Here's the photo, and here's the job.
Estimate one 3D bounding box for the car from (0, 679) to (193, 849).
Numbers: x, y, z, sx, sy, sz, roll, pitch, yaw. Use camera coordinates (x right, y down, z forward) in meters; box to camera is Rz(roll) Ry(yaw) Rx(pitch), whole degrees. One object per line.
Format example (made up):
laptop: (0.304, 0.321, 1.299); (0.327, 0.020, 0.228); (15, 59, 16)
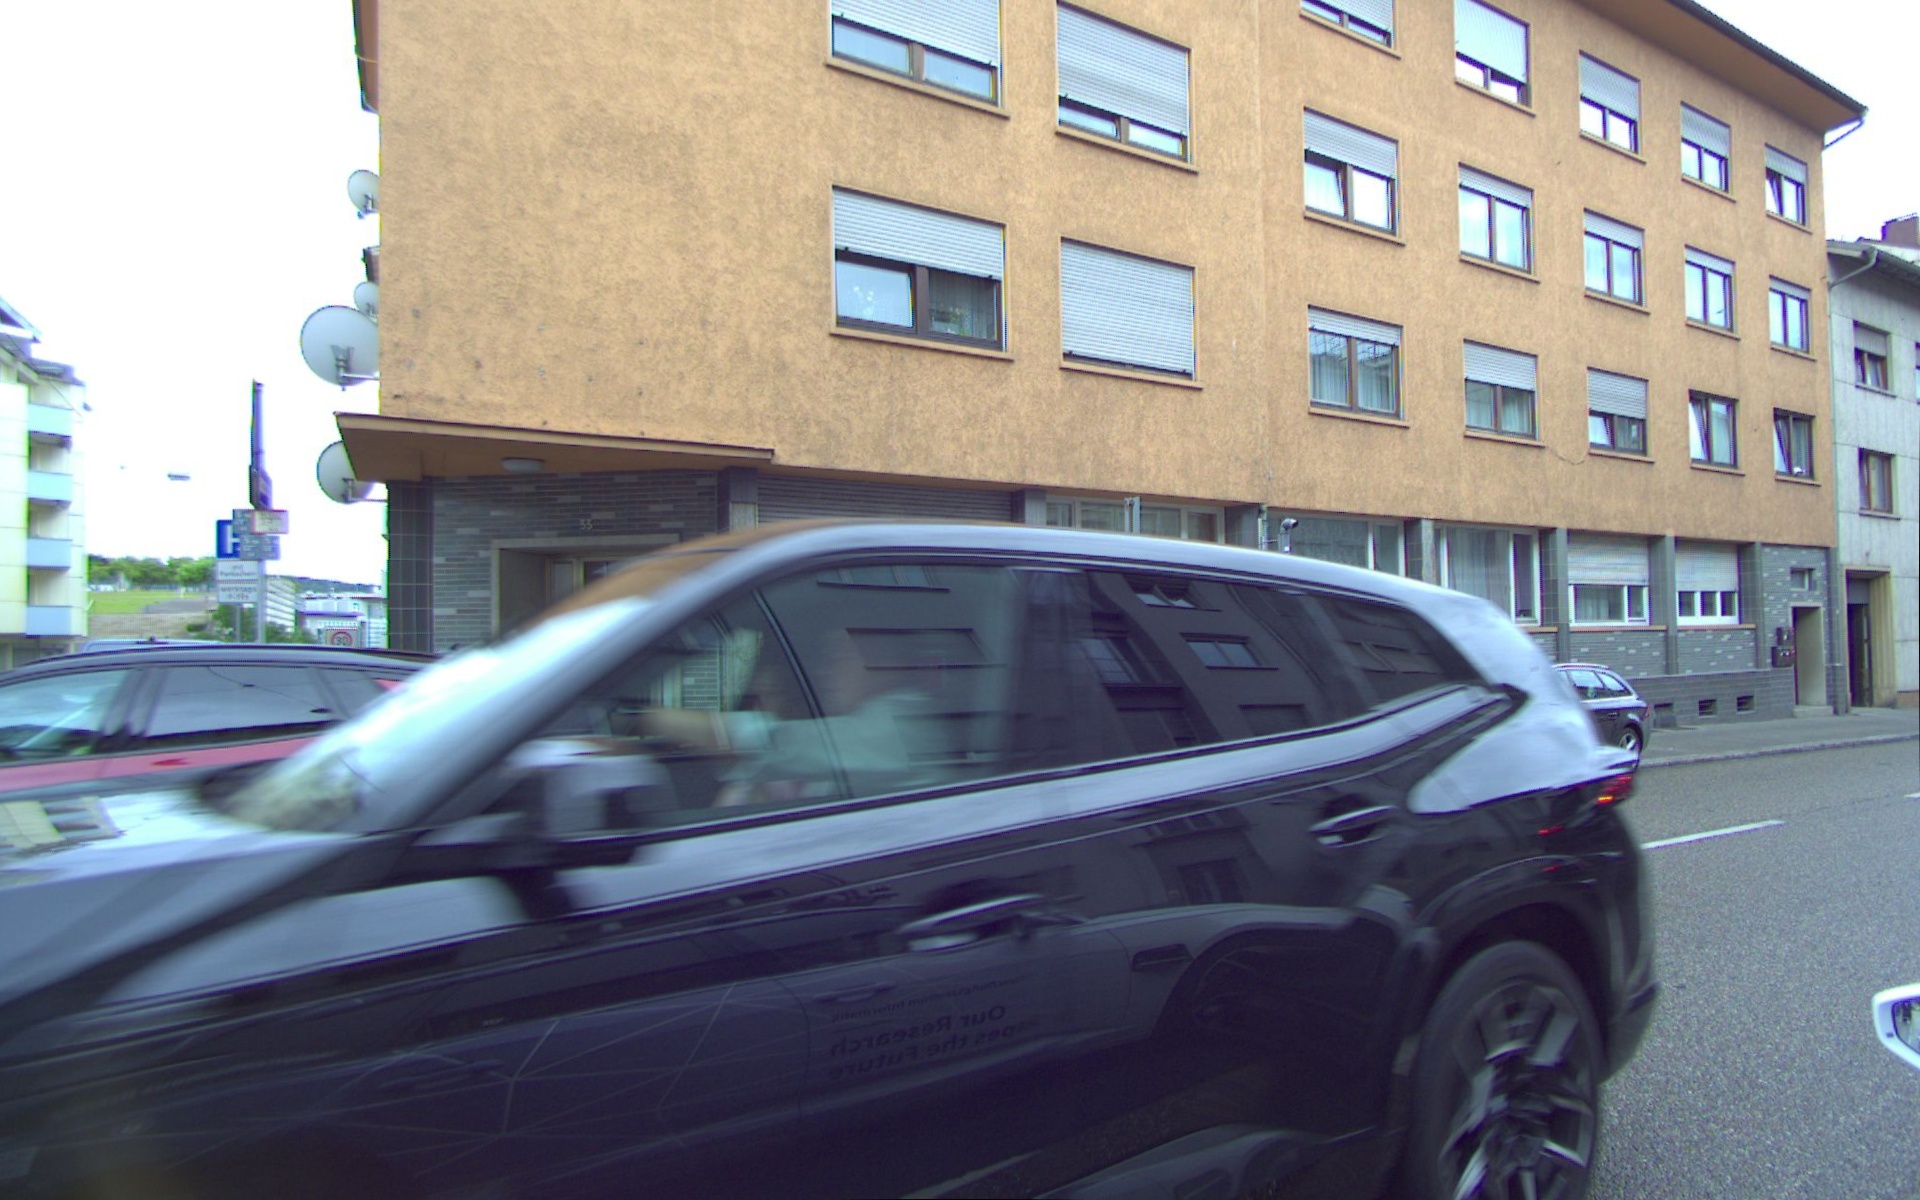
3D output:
car: (-10.225, 1.824, 11.380); (1.820, 1.596, 4.127); (1, -8, -29)

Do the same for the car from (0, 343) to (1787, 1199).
car: (-0.342, 0.726, 2.449); (4.762, 1.743, 2.117); (1, -4, -31)

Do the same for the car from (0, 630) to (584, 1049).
car: (-4.115, 0.988, 4.725); (4.246, 1.605, 1.798); (0, -4, -17)

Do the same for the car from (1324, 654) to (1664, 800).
car: (6.905, 1.486, 12.874); (4.475, 1.457, 1.786); (1, 0, -31)

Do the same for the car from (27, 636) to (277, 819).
car: (-13.233, 2.094, 16.964); (2.223, 2.492, 6.017); (1, -7, -29)
